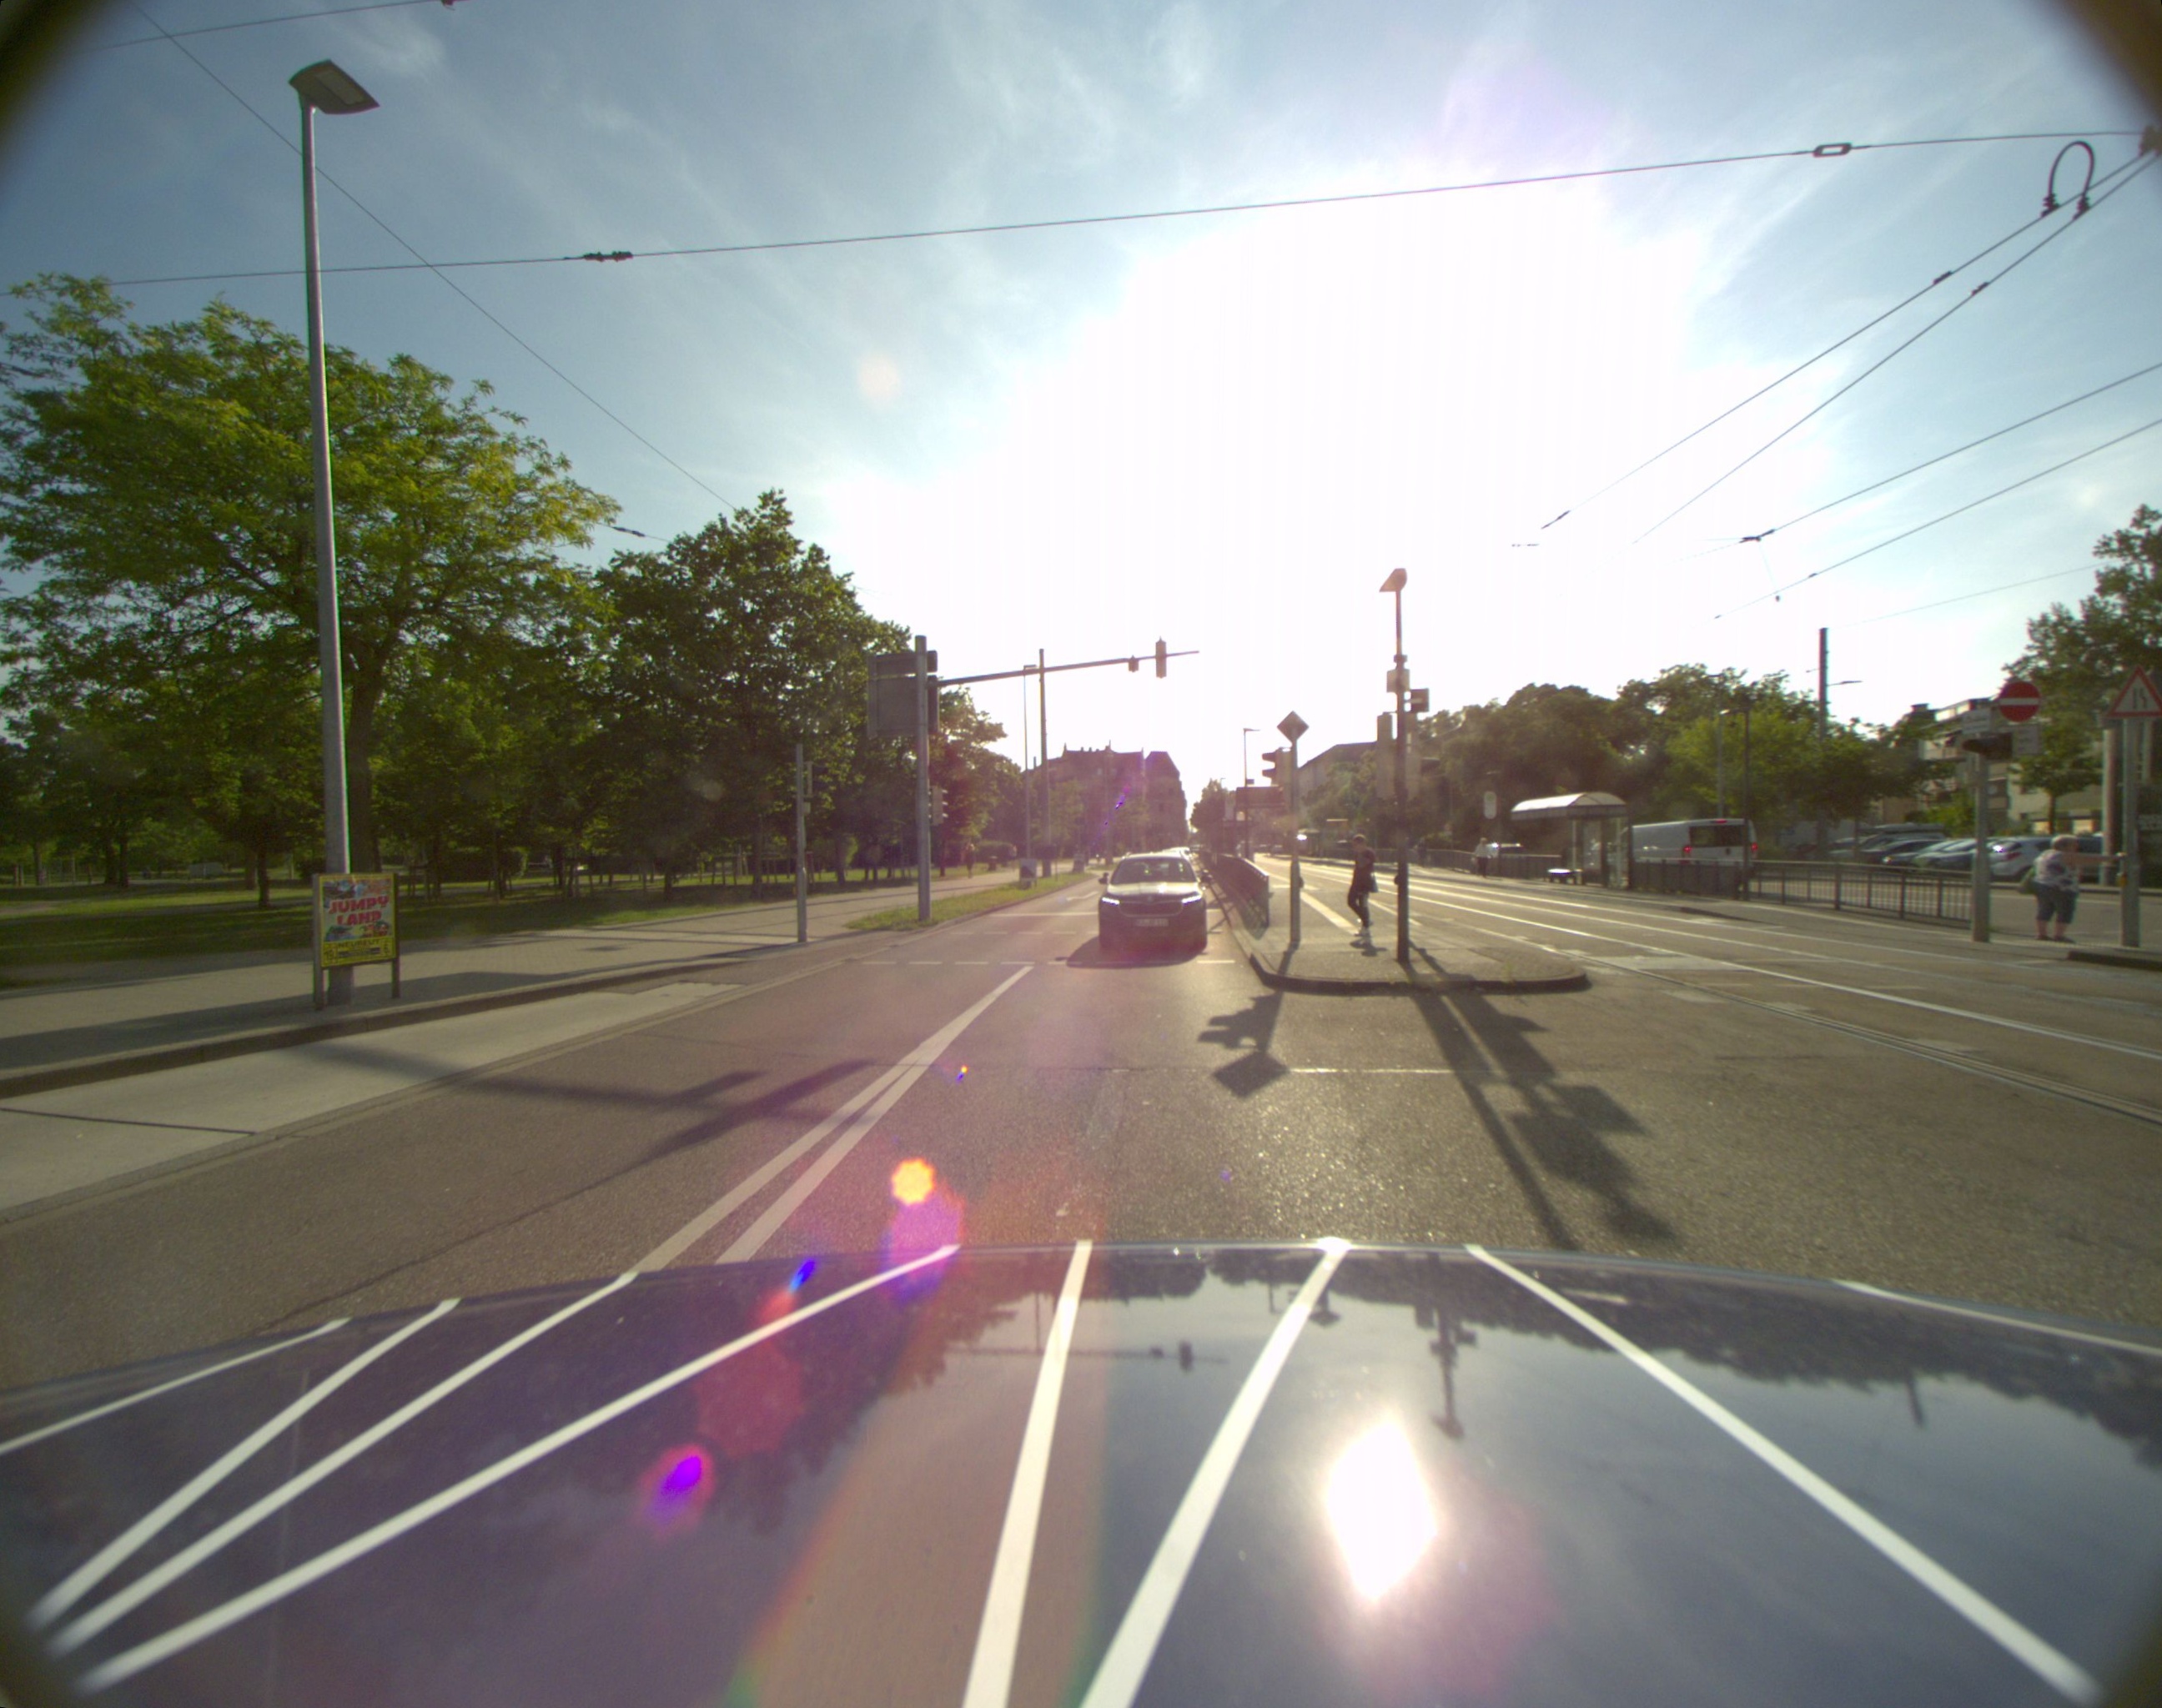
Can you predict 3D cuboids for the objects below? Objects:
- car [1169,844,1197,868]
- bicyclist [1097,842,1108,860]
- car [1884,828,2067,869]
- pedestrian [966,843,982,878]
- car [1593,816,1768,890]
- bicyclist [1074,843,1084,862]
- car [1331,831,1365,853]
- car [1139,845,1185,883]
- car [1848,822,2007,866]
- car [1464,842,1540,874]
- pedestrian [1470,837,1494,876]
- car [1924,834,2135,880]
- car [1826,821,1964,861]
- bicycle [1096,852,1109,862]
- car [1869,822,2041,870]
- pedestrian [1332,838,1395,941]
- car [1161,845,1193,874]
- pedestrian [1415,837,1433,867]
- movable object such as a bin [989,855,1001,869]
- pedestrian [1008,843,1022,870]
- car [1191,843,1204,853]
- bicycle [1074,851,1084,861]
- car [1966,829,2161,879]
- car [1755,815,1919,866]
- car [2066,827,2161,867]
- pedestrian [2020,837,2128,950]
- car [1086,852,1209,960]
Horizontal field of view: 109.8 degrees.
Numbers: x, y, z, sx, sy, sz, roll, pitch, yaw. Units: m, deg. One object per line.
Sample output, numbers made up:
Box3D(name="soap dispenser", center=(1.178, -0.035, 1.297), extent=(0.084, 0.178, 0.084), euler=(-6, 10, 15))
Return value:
Box3D(name="car", center=(6.936, 0.117, 51.578), extent=(1.780, 1.496, 4.002), euler=(-1, 1, 8))
Box3D(name="bicyclist", center=(2.062, -0.288, 72.448), extent=(0.729, 1.763, 1.016), euler=(-1, 2, 15))
Box3D(name="car", center=(32.679, -0.188, 27.939), extent=(3.989, 1.420, 1.776), euler=(0, 1, 29))
Box3D(name="pedestrian", center=(-5.256, 0.321, 37.288), extent=(0.558, 1.691, 0.662), euler=(-1, 1, 7))
Box3D(name="car", center=(19.851, -0.055, 25.554), extent=(2.181, 2.226, 5.255), euler=(-1, 1, 6))
Box3D(name="bicyclist", center=(-0.171, -0.169, 72.249), extent=(0.753, 1.763, 1.119), euler=(-1, 1, 7))
Box3D(name="car", center=(26.112, -1.174, 74.594), extent=(2.149, 2.002, 5.389), euler=(-1, 1, 8))
Box3D(name="car", center=(3.523, 0.381, 32.330), extent=(1.780, 1.496, 4.002), euler=(-1, 1, 8))
Box3D(name="car", center=(34.914, -0.397, 31.515), extent=(3.989, 1.744, 1.857), euler=(0, 1, 27))
Box3D(name="car", center=(21.395, 0.198, 38.799), extent=(1.681, 1.517, 4.124), euler=(-1, 0, 1))
Box3D(name="pedestrian", center=(16.722, 0.104, 31.699), extent=(0.707, 1.619, 0.727), euler=(-1, 1, 8))
Box3D(name="car", center=(31.178, 0.088, 25.175), extent=(3.989, 1.420, 1.776), euler=(0, 1, 29))
Box3D(name="car", center=(37.650, -0.591, 35.287), extent=(3.989, 1.744, 1.857), euler=(0, 1, 27))
Box3D(name="bicycle", center=(2.054, 0.260, 72.388), extent=(0.739, 0.912, 2.096), euler=(-1, 1, 15))
Box3D(name="car", center=(33.918, -0.293, 29.672), extent=(3.989, 1.744, 1.857), euler=(0, 1, 27))
Box3D(name="pedestrian", center=(4.703, 0.576, 12.681), extent=(0.882, 1.660, 0.672), euler=(-1, 1, 11))
Box3D(name="car", center=(5.344, 0.284, 41.981), extent=(1.671, 1.496, 3.873), euler=(-1, 1, 8))
Box3D(name="pedestrian", center=(18.843, -0.129, 41.783), extent=(0.736, 1.619, 0.690), euler=(-1, 1, 8))
Box3D(name="movable object such as a bin", center=(-5.420, 0.508, 47.974), extent=(0.525, 0.899, 0.502), euler=(-2, 2, -43))
Box3D(name="pedestrian", center=(-4.170, 0.147, 48.057), extent=(0.622, 1.642, 0.661), euler=(-2, 2, -25))
Box3D(name="car", center=(19.754, -1.086, 128.799), extent=(1.997, 1.674, 4.001), euler=(-1, 1, 6))
Box3D(name="bicycle", center=(-0.183, 0.197, 72.175), extent=(0.739, 0.912, 2.095), euler=(-1, 1, 7))
Box3D(name="car", center=(29.827, -0.008, 22.731), extent=(3.989, 1.420, 1.776), euler=(0, 1, 29))
Box3D(name="car", center=(44.177, -0.745, 44.627), extent=(6.584, 2.793, 1.776), euler=(-1, 1, 29))
Box3D(name="car", center=(48.907, -0.366, 35.723), extent=(1.813, 1.789, 4.007), euler=(0, 1, 31))
Box3D(name="pedestrian", center=(14.337, 0.549, 10.992), extent=(0.591, 1.580, 0.715), euler=(-1, 1, 5))
Box3D(name="car", center=(1.289, 0.797, 13.509), extent=(1.780, 1.496, 4.002), euler=(-3, 1, 8))
